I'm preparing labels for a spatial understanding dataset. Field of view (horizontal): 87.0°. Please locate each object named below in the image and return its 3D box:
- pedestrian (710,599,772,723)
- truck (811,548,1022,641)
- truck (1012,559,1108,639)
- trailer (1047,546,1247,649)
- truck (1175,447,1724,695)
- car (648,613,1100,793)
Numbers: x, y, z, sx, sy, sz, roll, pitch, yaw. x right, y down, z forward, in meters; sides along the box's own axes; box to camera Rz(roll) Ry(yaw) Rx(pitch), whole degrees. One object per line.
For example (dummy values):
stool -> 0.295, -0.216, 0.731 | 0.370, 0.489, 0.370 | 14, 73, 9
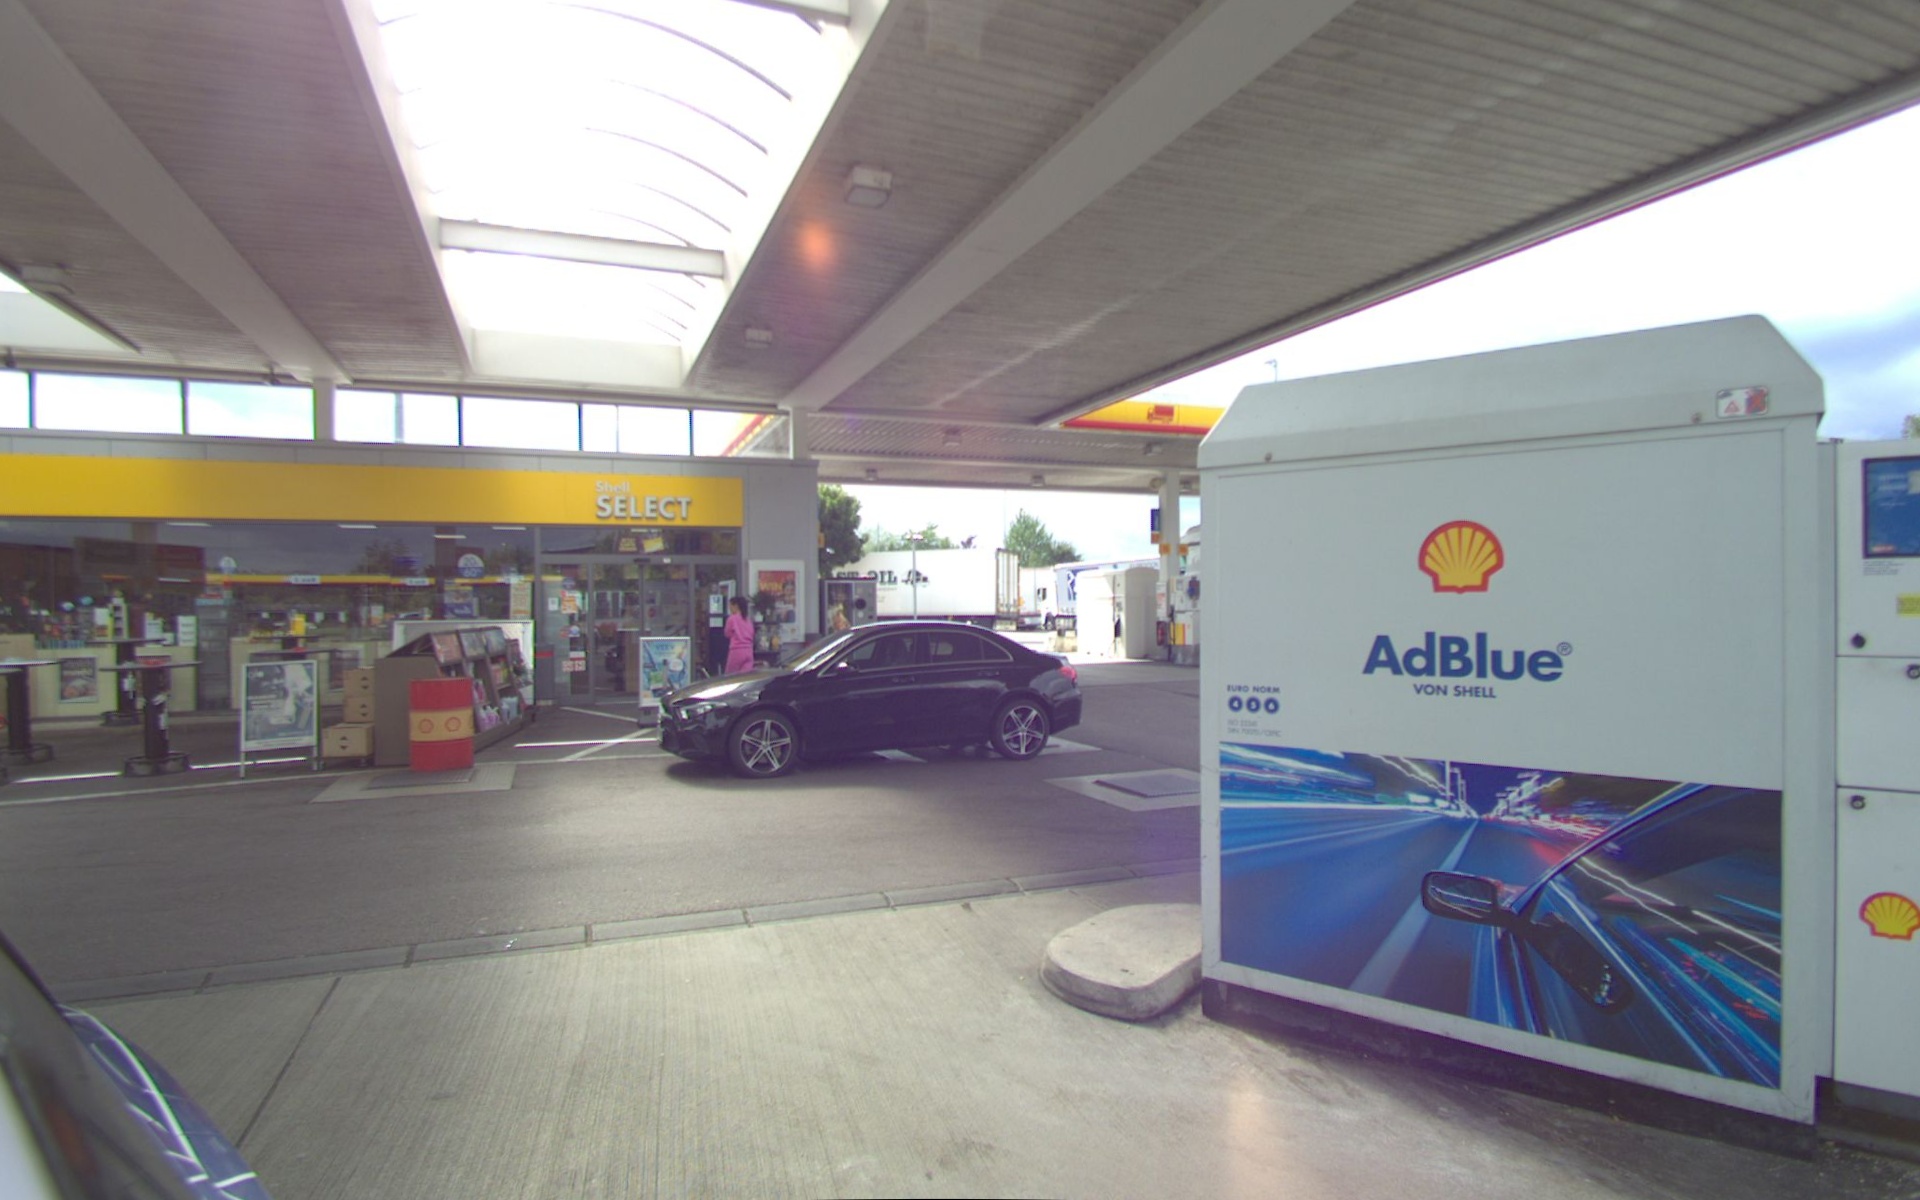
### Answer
pedestrian -> -3.143, 0.851, 14.509 | 0.618, 1.726, 0.623 | -1, 0, -44
truck -> -2.090, -0.188, 46.833 | 9.536, 4.036, 2.772 | -1, 0, 25
truck -> 5.941, -0.059, 61.214 | 3.333, 4.538, 6.249 | -1, 0, -20
trailer -> 9.118, -0.109, 52.666 | 3.294, 4.600, 14.397 | -1, 0, -20
truck -> 9.668, -0.469, 23.094 | 2.491, 4.069, 12.947 | -1, 0, -22
car -> -0.912, 0.940, 10.671 | 4.394, 1.511, 1.785 | -1, 0, -21
